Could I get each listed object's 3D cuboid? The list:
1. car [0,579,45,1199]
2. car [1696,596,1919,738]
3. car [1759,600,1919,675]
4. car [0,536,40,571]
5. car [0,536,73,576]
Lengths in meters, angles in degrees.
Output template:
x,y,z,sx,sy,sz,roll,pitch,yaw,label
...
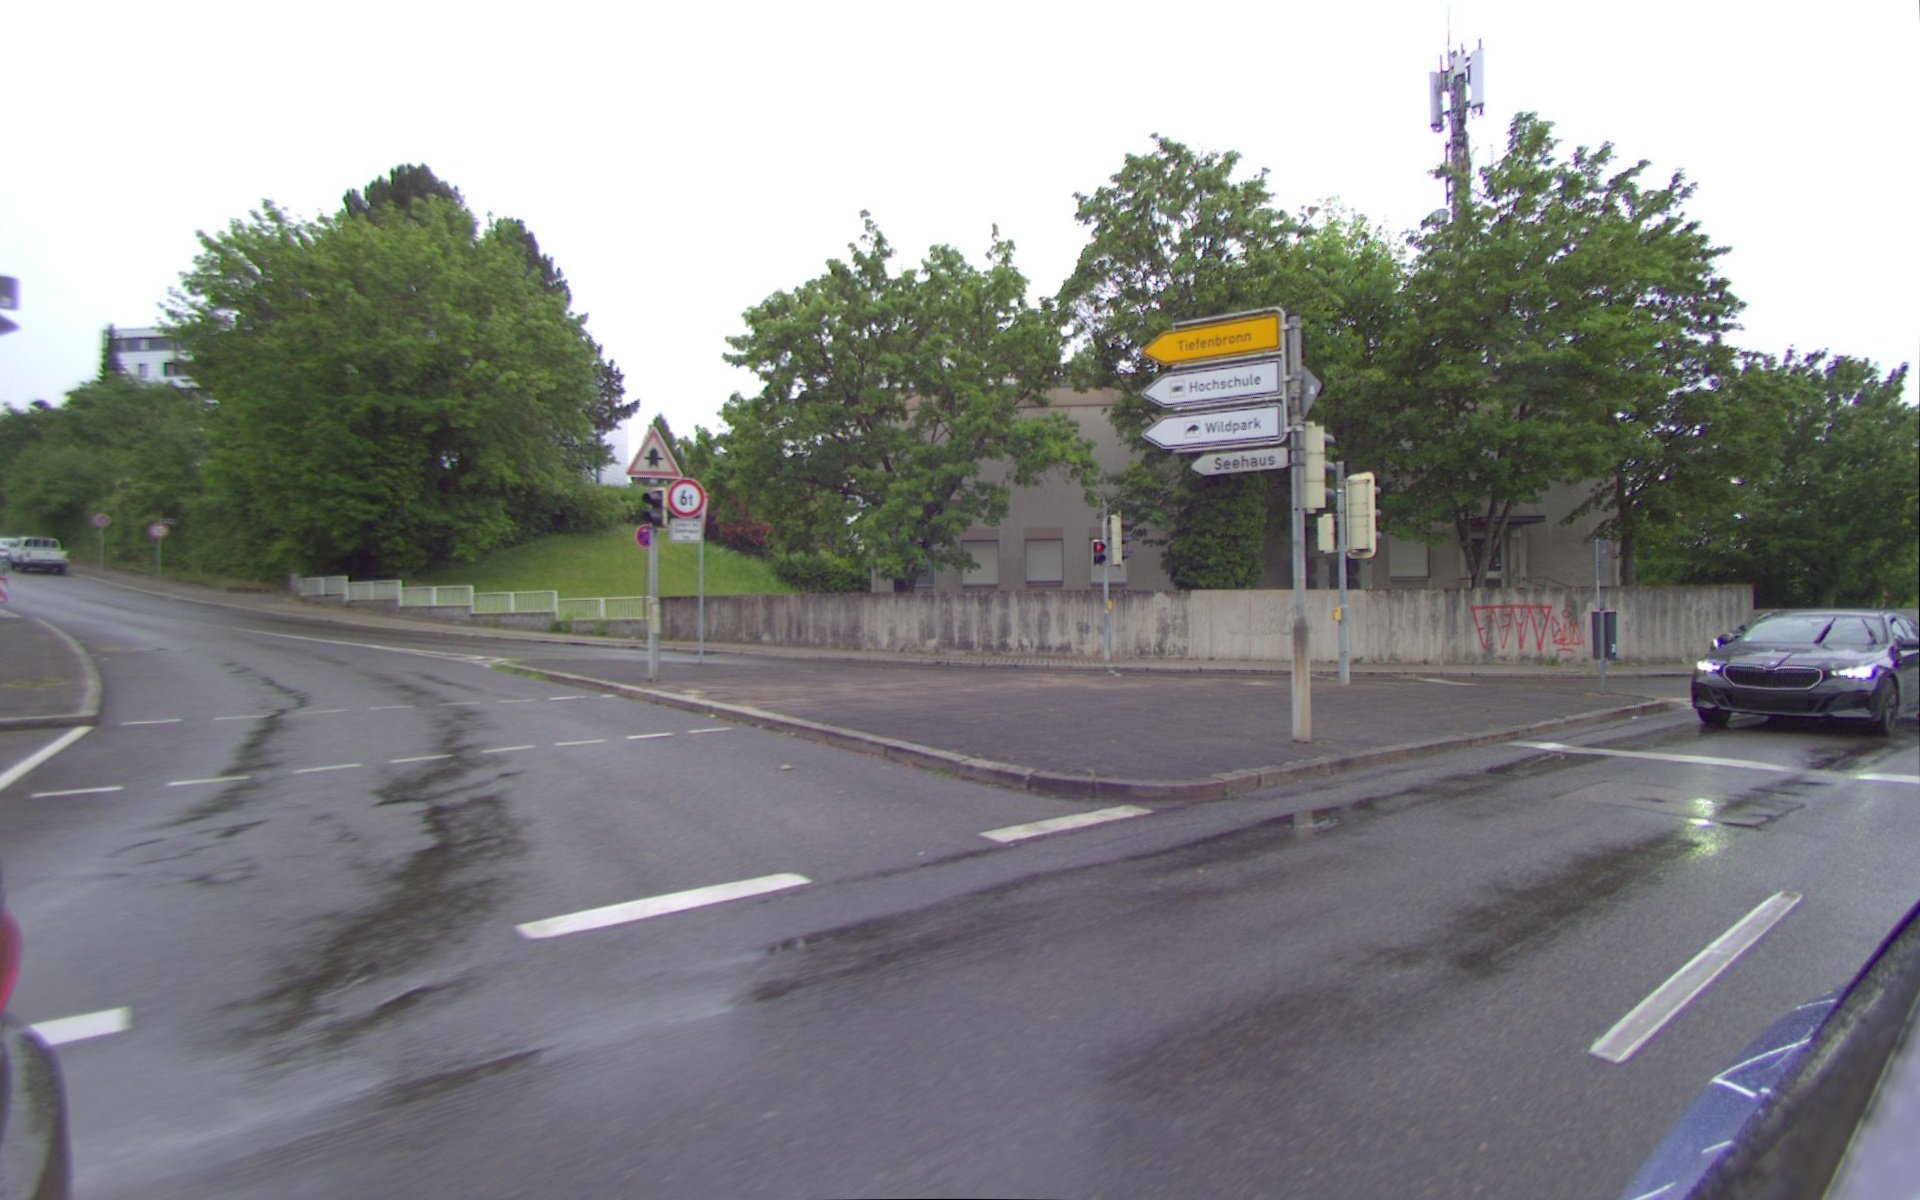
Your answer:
x,y,z,sx,sy,sz,roll,pitch,yaw,label
-3.396,0.713,0.234,4.656,1.442,1.869,-1,1,-41,car
11.268,0.724,13.062,3.927,1.538,1.872,-1,0,-38,car
20.684,0.810,23.163,3.916,1.571,1.698,0,0,-14,car
-51.766,-2.532,54.944,3.976,1.829,1.975,2,2,36,car
-46.350,-2.216,50.742,4.185,1.900,1.974,2,2,36,car
